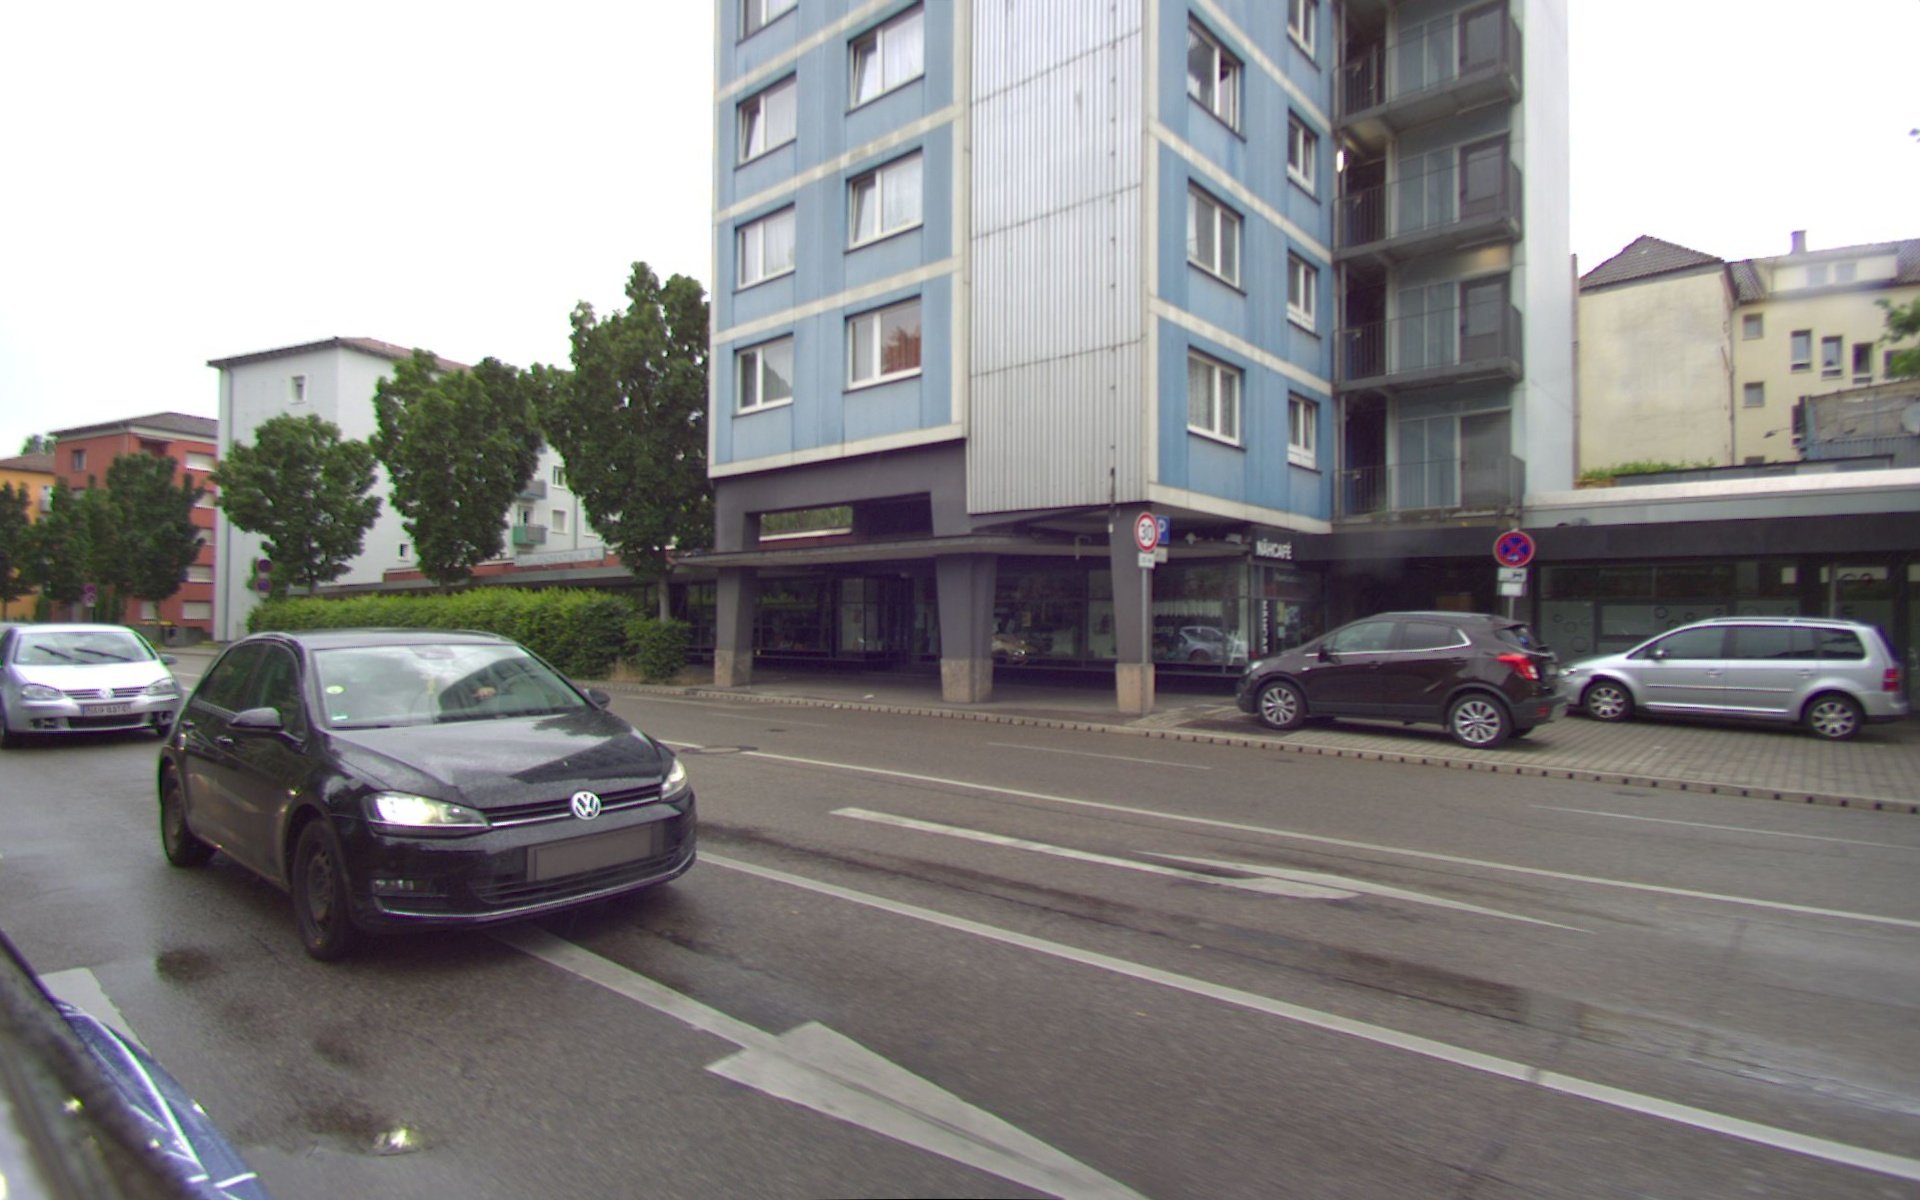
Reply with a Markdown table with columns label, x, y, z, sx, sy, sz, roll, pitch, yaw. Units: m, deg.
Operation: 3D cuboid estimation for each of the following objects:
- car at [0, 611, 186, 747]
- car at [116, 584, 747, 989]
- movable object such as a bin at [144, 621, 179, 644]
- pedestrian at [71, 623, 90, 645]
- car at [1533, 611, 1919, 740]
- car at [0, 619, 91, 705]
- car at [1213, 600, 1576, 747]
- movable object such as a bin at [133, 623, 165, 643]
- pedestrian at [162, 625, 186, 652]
| label | x | y | z | sx | sy | sz | roll | pitch | yaw |
| --- | --- | --- | --- | --- | --- | --- | --- | --- | --- |
| car | -11.643 | 0.918 | 13.098 | 4.159 | 1.498 | 1.726 | -1 | -2 | 41 |
| car | -3.147 | 0.746 | 5.661 | 3.998 | 1.464 | 1.737 | -1 | -4 | 41 |
| movable object such as a bin | -51.398 | 2.096 | 65.113 | 2.082 | 1.496 | 1.205 | -1 | -2 | 35 |
| pedestrian | -59.313 | 2.301 | 68.248 | 0.833 | 1.460 | 0.666 | -1 | -3 | 31 |
| car | 11.423 | 1.017 | 15.336 | 4.507 | 1.667 | 1.973 | -1 | -1 | 40 |
| car | -18.088 | 1.113 | 19.015 | 4.584 | 1.475 | 2.044 | -1 | -2 | 41 |
| car | 5.771 | 0.888 | 13.787 | 4.285 | 1.719 | 1.523 | -1 | -1 | 41 |
| movable object such as a bin | -53.177 | 2.158 | 66.360 | 1.961 | 1.341 | 1.147 | -1 | -2 | 35 |
| pedestrian | -44.147 | 2.171 | 56.867 | 1.066 | 1.529 | 0.687 | -1 | -3 | 31 |
